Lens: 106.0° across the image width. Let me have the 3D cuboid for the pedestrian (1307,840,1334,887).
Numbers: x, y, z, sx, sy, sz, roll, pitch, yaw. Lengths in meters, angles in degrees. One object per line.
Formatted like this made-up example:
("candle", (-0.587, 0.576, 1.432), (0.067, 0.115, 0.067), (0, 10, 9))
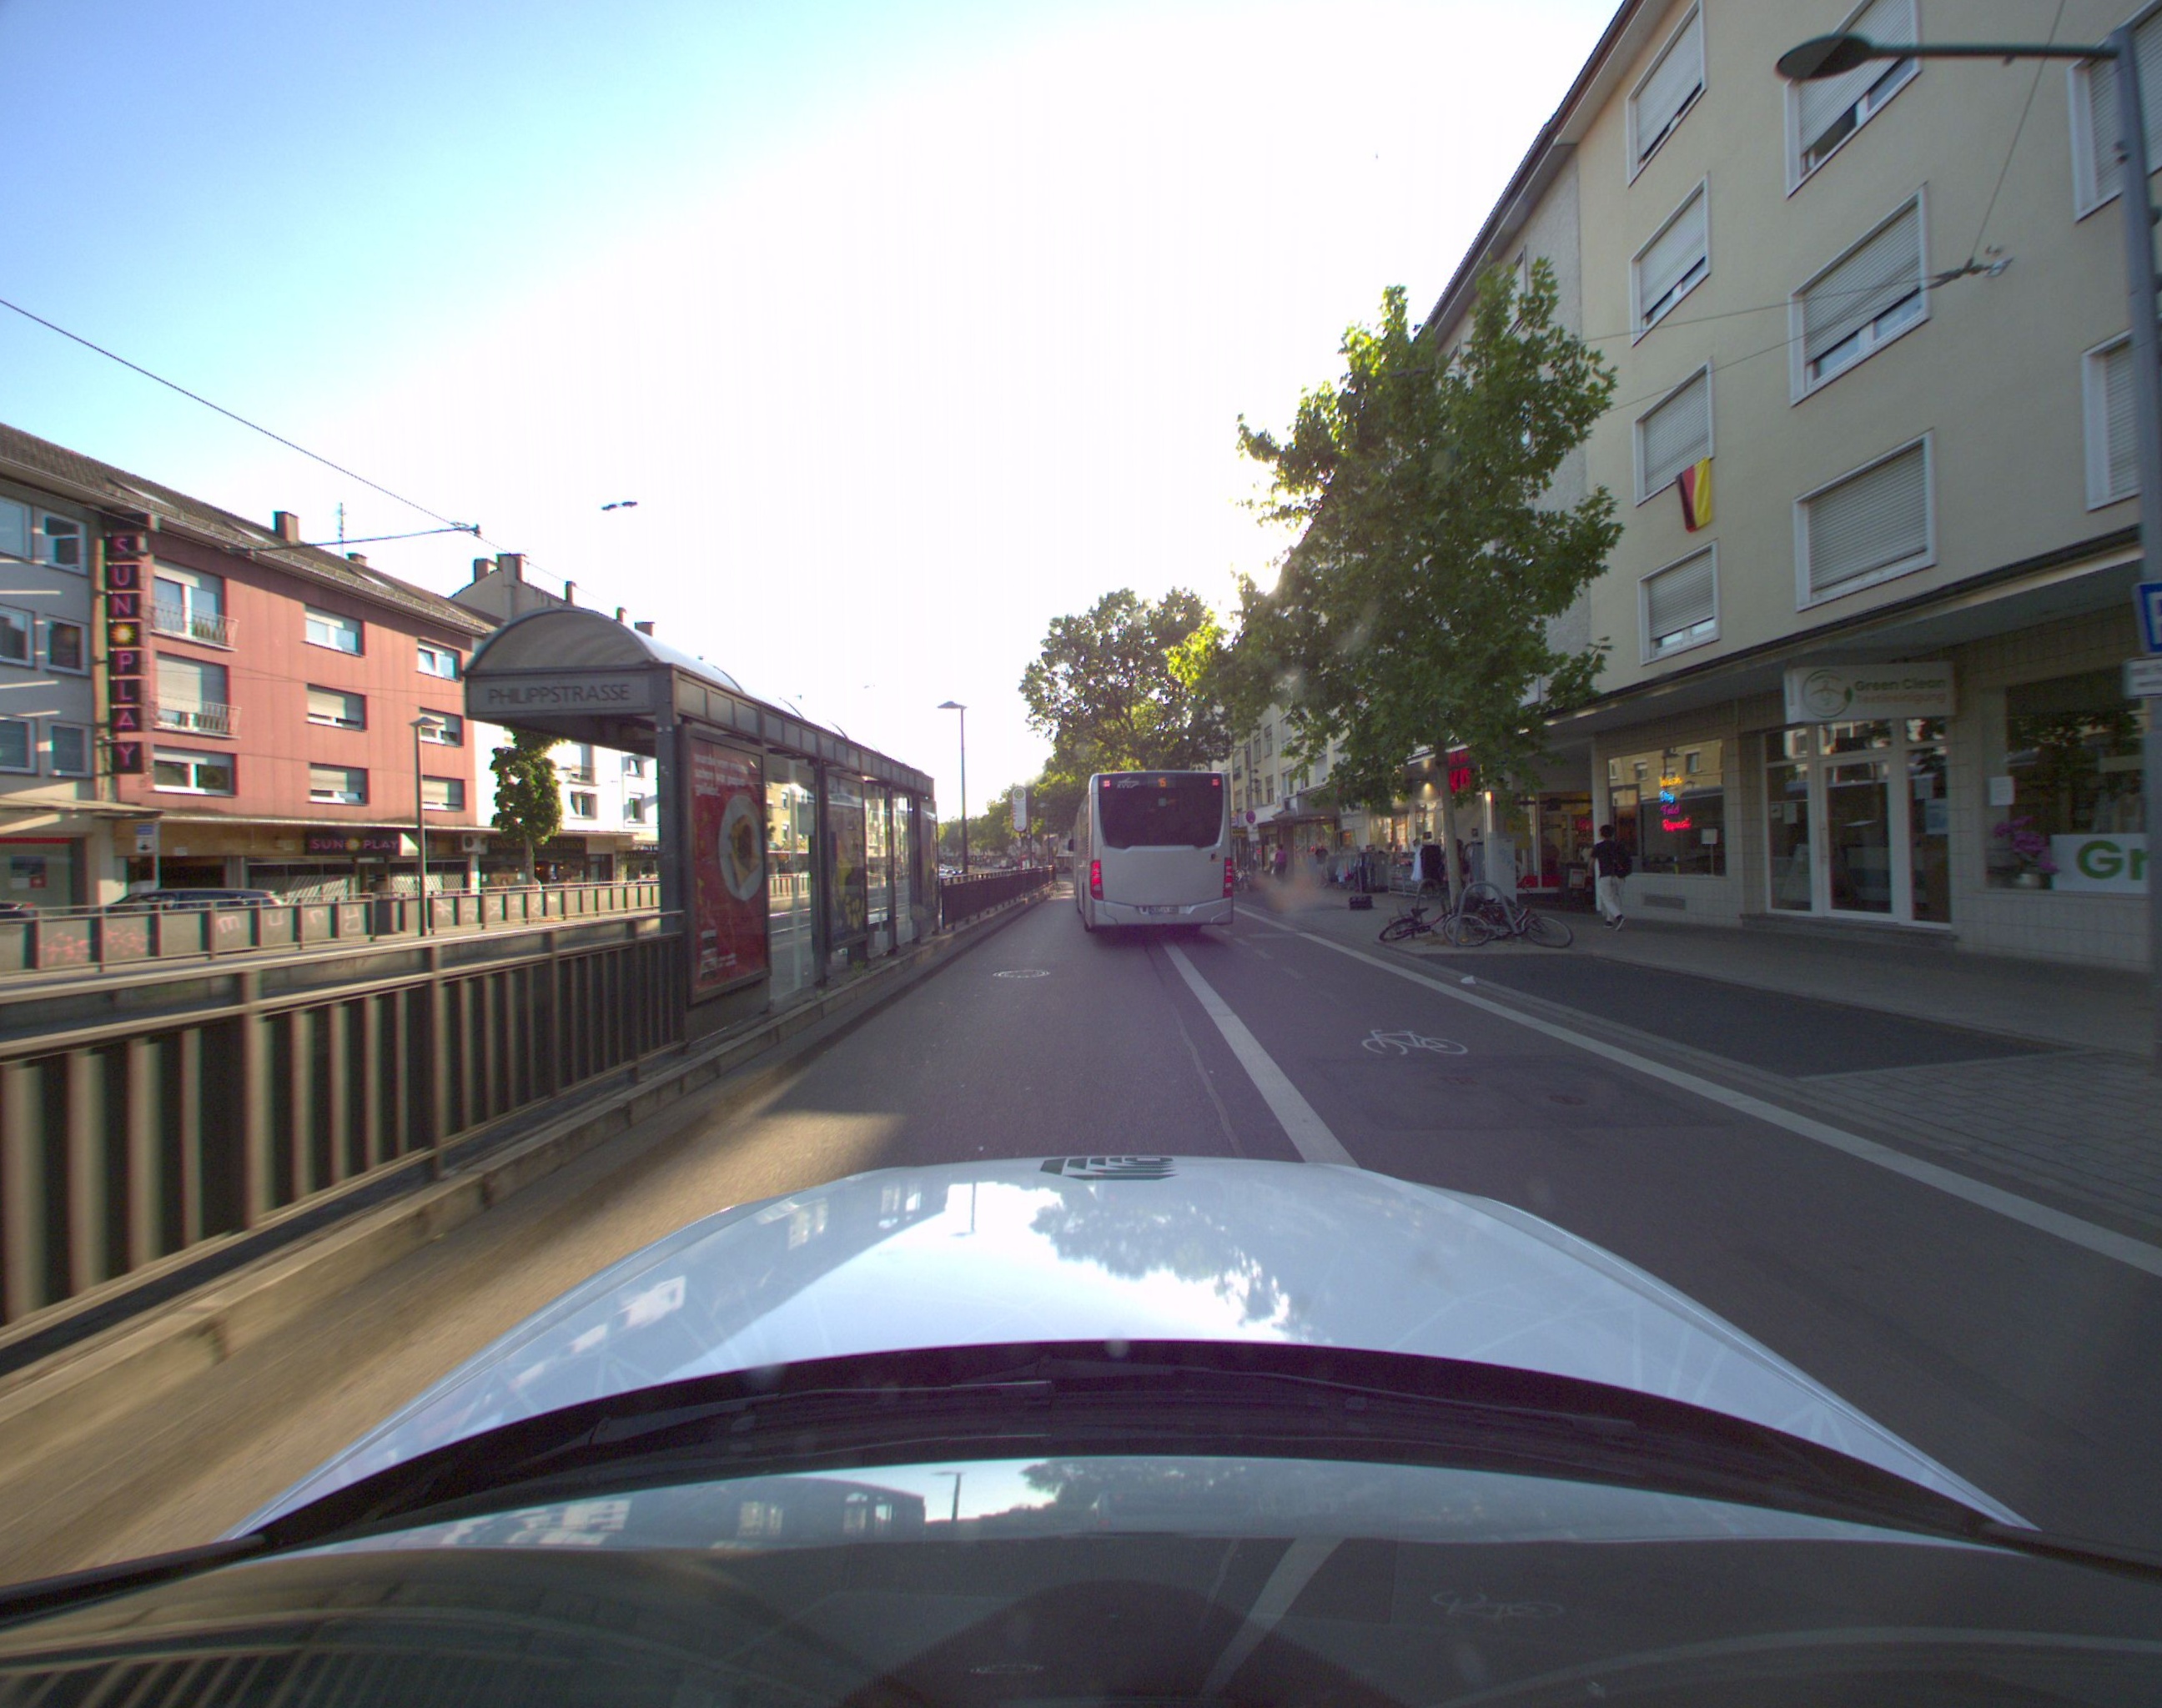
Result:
("pedestrian", (9.502, 0.381, 32.311), (0.721, 1.795, 0.767), (-5, -1, 1))

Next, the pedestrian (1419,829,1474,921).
("pedestrian", (7.343, 0.412, 16.400), (0.721, 1.795, 0.767), (-2, -1, 1))

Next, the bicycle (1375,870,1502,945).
("bicycle", (5.962, 0.886, 13.605), (1.793, 0.630, 0.930), (-5, -35, -30))

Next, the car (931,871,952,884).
("car", (-19.137, 3.253, 112.037), (1.986, 1.651, 4.001), (-2, -1, 2))

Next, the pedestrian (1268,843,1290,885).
("pedestrian", (8.532, 0.434, 35.107), (0.721, 1.795, 0.767), (-2, -1, 1))

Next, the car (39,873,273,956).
("car", (-21.757, 1.349, 19.390), (3.531, 1.679, 1.749), (-1, -1, -44))

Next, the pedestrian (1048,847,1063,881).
("pedestrian", (-1.974, 0.797, 62.530), (0.884, 2.546, 1.166), (-2, -1, 8))

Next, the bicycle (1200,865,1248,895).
("bicycle", (6.058, 1.087, 34.606), (1.878, 1.077, 0.755), (-6, -1, 4))

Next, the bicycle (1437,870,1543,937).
("bicycle", (6.617, 0.789, 13.162), (1.702, 0.942, 0.646), (-1, -10, -34))

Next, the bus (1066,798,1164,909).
("bus", (0.889, 0.018, 27.770), (2.689, 3.118, 9.064), (-1, 0, -2))

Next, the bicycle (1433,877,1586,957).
("bicycle", (6.265, 0.907, 11.966), (1.778, 0.942, 0.793), (-6, -1, -3))

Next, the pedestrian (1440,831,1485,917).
("pedestrian", (8.230, 0.419, 17.592), (0.562, 1.795, 0.767), (-2, -1, 2))

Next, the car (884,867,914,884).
("car", (-19.080, 2.219, 85.520), (1.986, 1.651, 4.001), (-2, -1, 2))

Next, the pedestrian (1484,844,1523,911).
("pedestrian", (9.005, 0.496, 17.357), (0.473, 1.394, 0.612), (-2, -1, 1))

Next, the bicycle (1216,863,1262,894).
("bicycle", (6.552, 1.009, 33.694), (1.707, 1.077, 0.589), (-6, -1, -16))

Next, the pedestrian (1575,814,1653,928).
("pedestrian", (8.706, 0.273, 13.334), (0.721, 1.795, 0.767), (-2, -1, 1))

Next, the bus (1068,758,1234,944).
("bus", (1.119, -0.038, 18.547), (2.689, 3.118, 9.375), (-1, 0, -2))
